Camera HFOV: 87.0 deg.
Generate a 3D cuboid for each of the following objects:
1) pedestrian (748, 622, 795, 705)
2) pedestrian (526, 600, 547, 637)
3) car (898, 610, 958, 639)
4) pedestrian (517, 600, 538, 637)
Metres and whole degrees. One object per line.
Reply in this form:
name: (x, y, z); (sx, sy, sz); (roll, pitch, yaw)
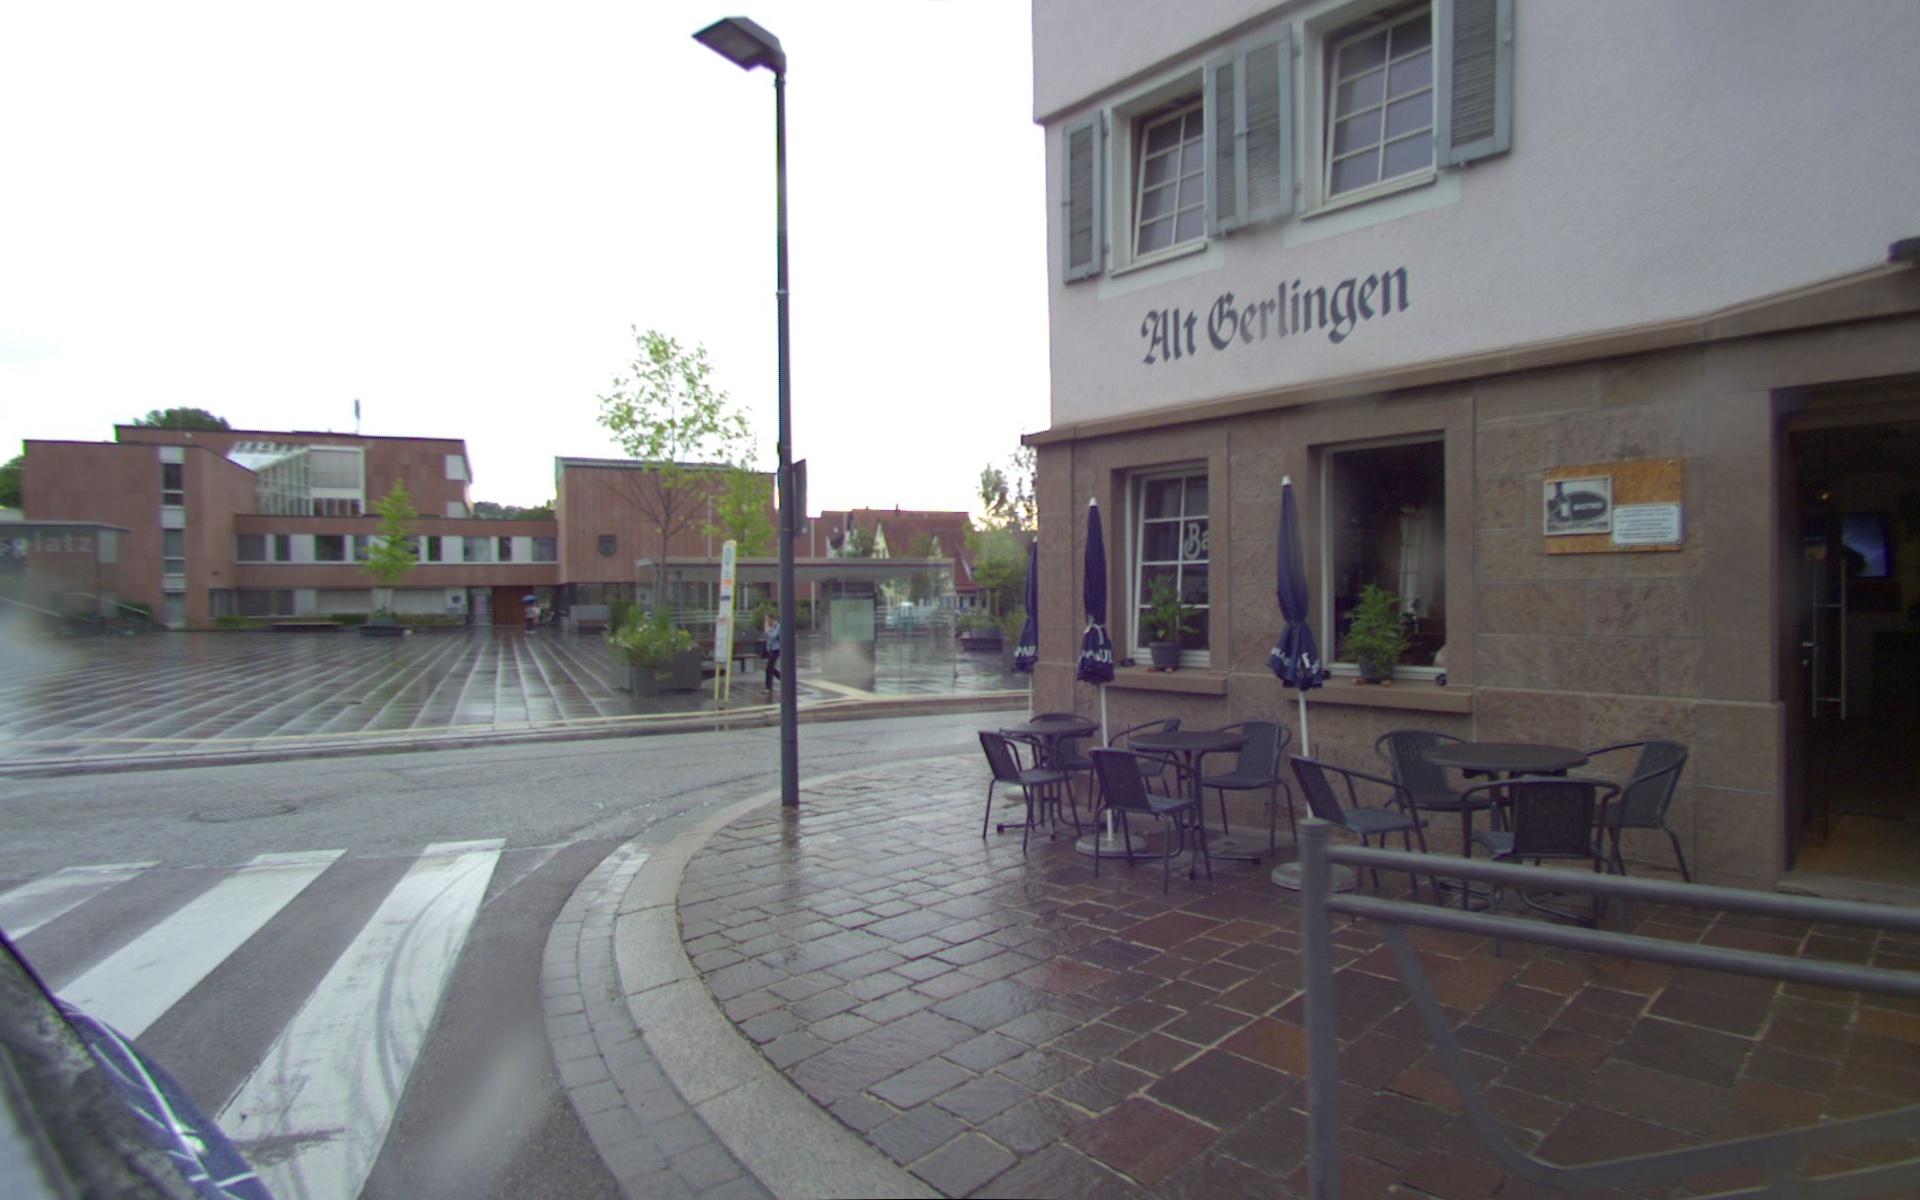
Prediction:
pedestrian: (-3.838, 1.277, 20.606); (0.682, 1.629, 0.732); (1, 0, -35)
pedestrian: (-23.845, 1.030, 57.037); (0.724, 2.029, 0.860); (1, 0, 10)
car: (-2.506, 1.901, 79.324); (4.300, 2.234, 2.007); (1, 0, -26)
pedestrian: (-23.997, 1.033, 56.145); (0.724, 2.029, 0.860); (1, 0, 10)
